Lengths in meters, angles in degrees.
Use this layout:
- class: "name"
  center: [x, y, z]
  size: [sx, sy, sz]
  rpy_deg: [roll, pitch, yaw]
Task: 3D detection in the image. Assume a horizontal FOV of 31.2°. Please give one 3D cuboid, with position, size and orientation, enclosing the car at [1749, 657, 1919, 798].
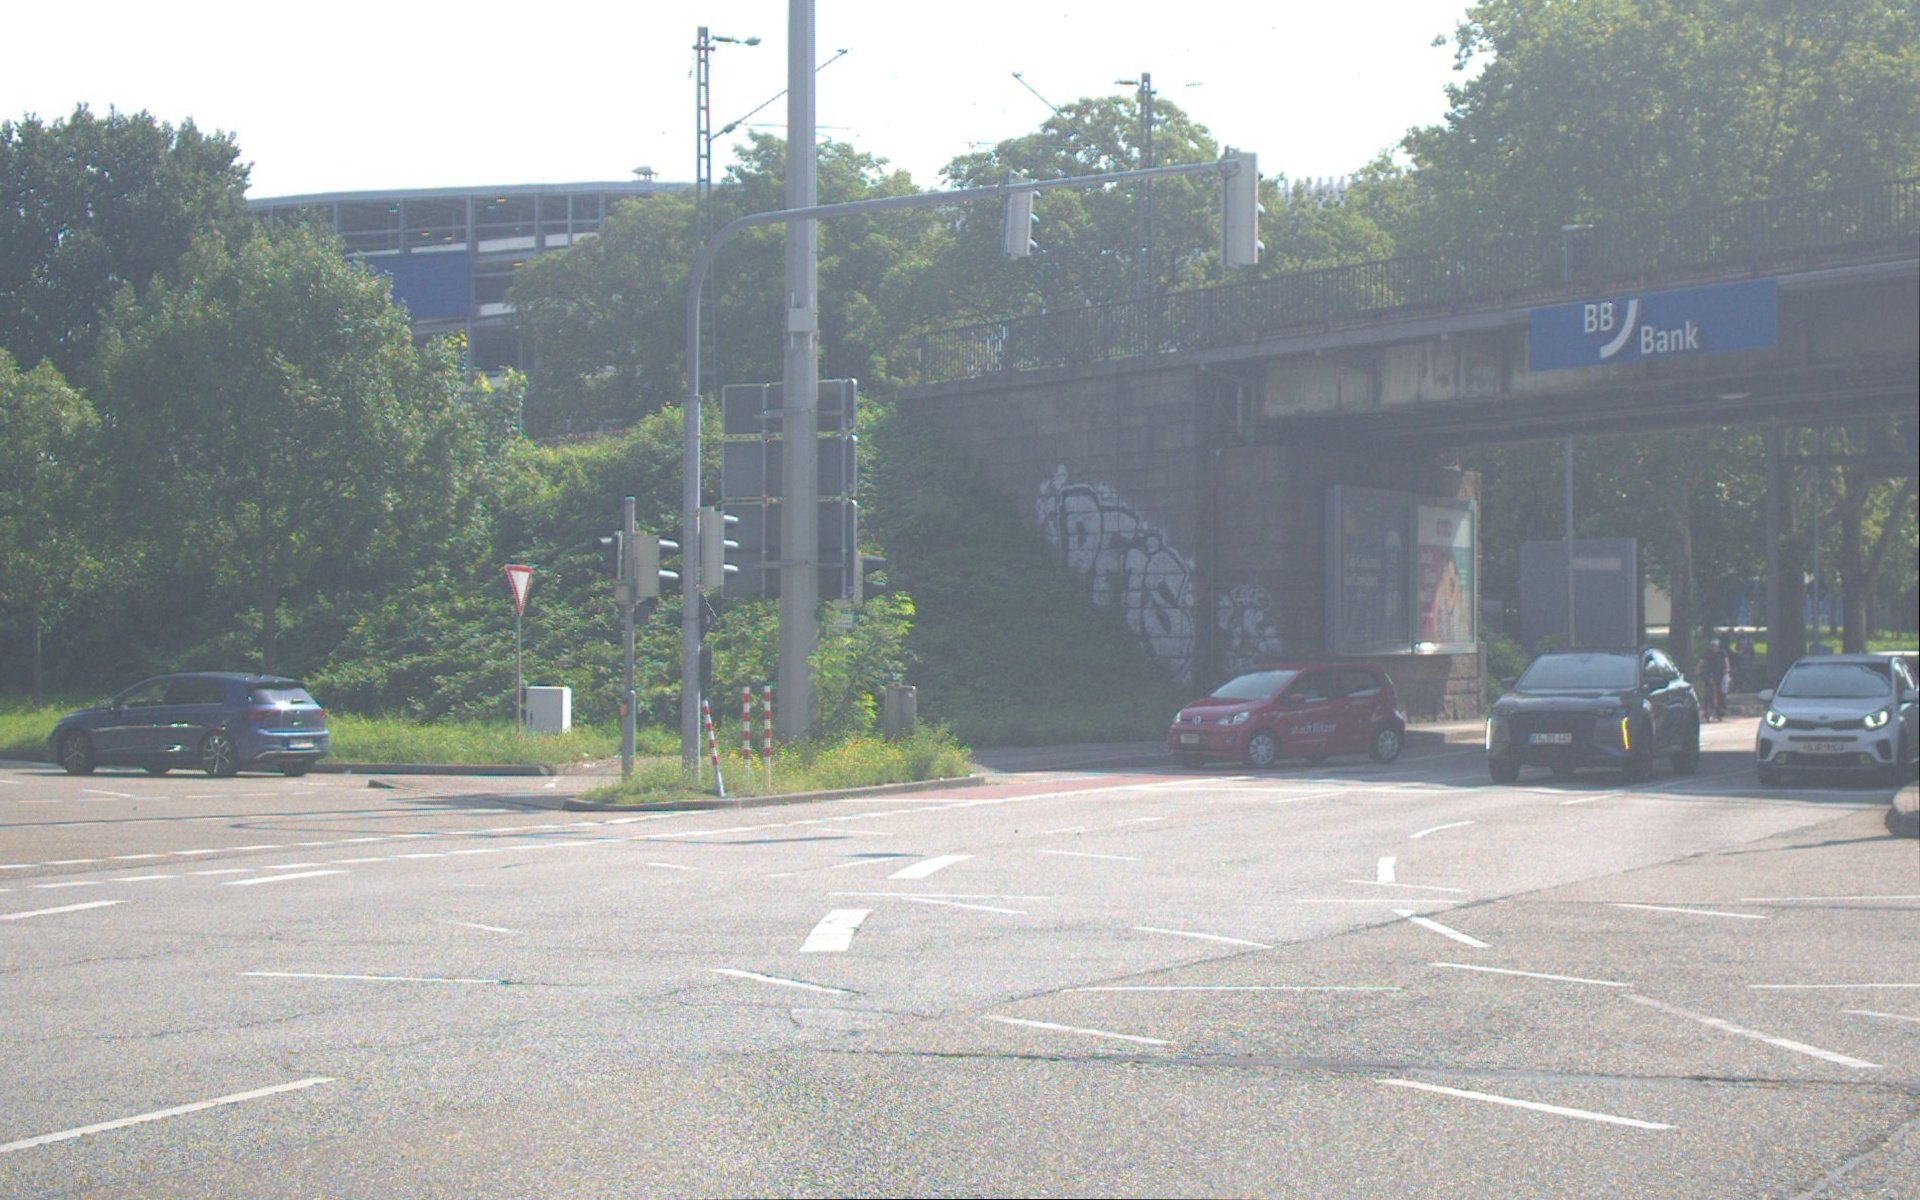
- class: "car"
  center: [10.323, 1.447, 39.974]
  size: [1.723, 1.533, 3.692]
  rpy_deg: [-1, -1, 21]

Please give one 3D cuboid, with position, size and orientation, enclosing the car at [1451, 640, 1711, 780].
- class: "car"
  center: [7.688, 1.326, 42.236]
  size: [1.904, 1.612, 4.467]
  rpy_deg: [-1, -1, 27]

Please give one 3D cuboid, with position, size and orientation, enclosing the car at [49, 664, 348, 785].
- class: "car"
  center: [-10.698, 1.719, 48.239]
  size: [3.995, 1.423, 1.783]
  rpy_deg: [3, 1, 34]

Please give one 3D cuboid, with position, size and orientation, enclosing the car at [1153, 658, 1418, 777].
- class: "car"
  center: [4.645, 1.640, 48.838]
  size: [3.543, 1.462, 1.643]
  rpy_deg: [0, 3, -38]

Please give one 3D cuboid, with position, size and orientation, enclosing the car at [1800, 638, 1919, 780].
- class: "car"
  center: [12.136, 1.364, 44.286]
  size: [1.996, 1.567, 4.343]
  rpy_deg: [1, 2, 21]

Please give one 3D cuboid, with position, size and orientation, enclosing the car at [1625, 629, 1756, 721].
- class: "car"
  center: [15.805, 1.595, 74.261]
  size: [1.996, 1.842, 3.995]
  rpy_deg: [3, 1, 22]
